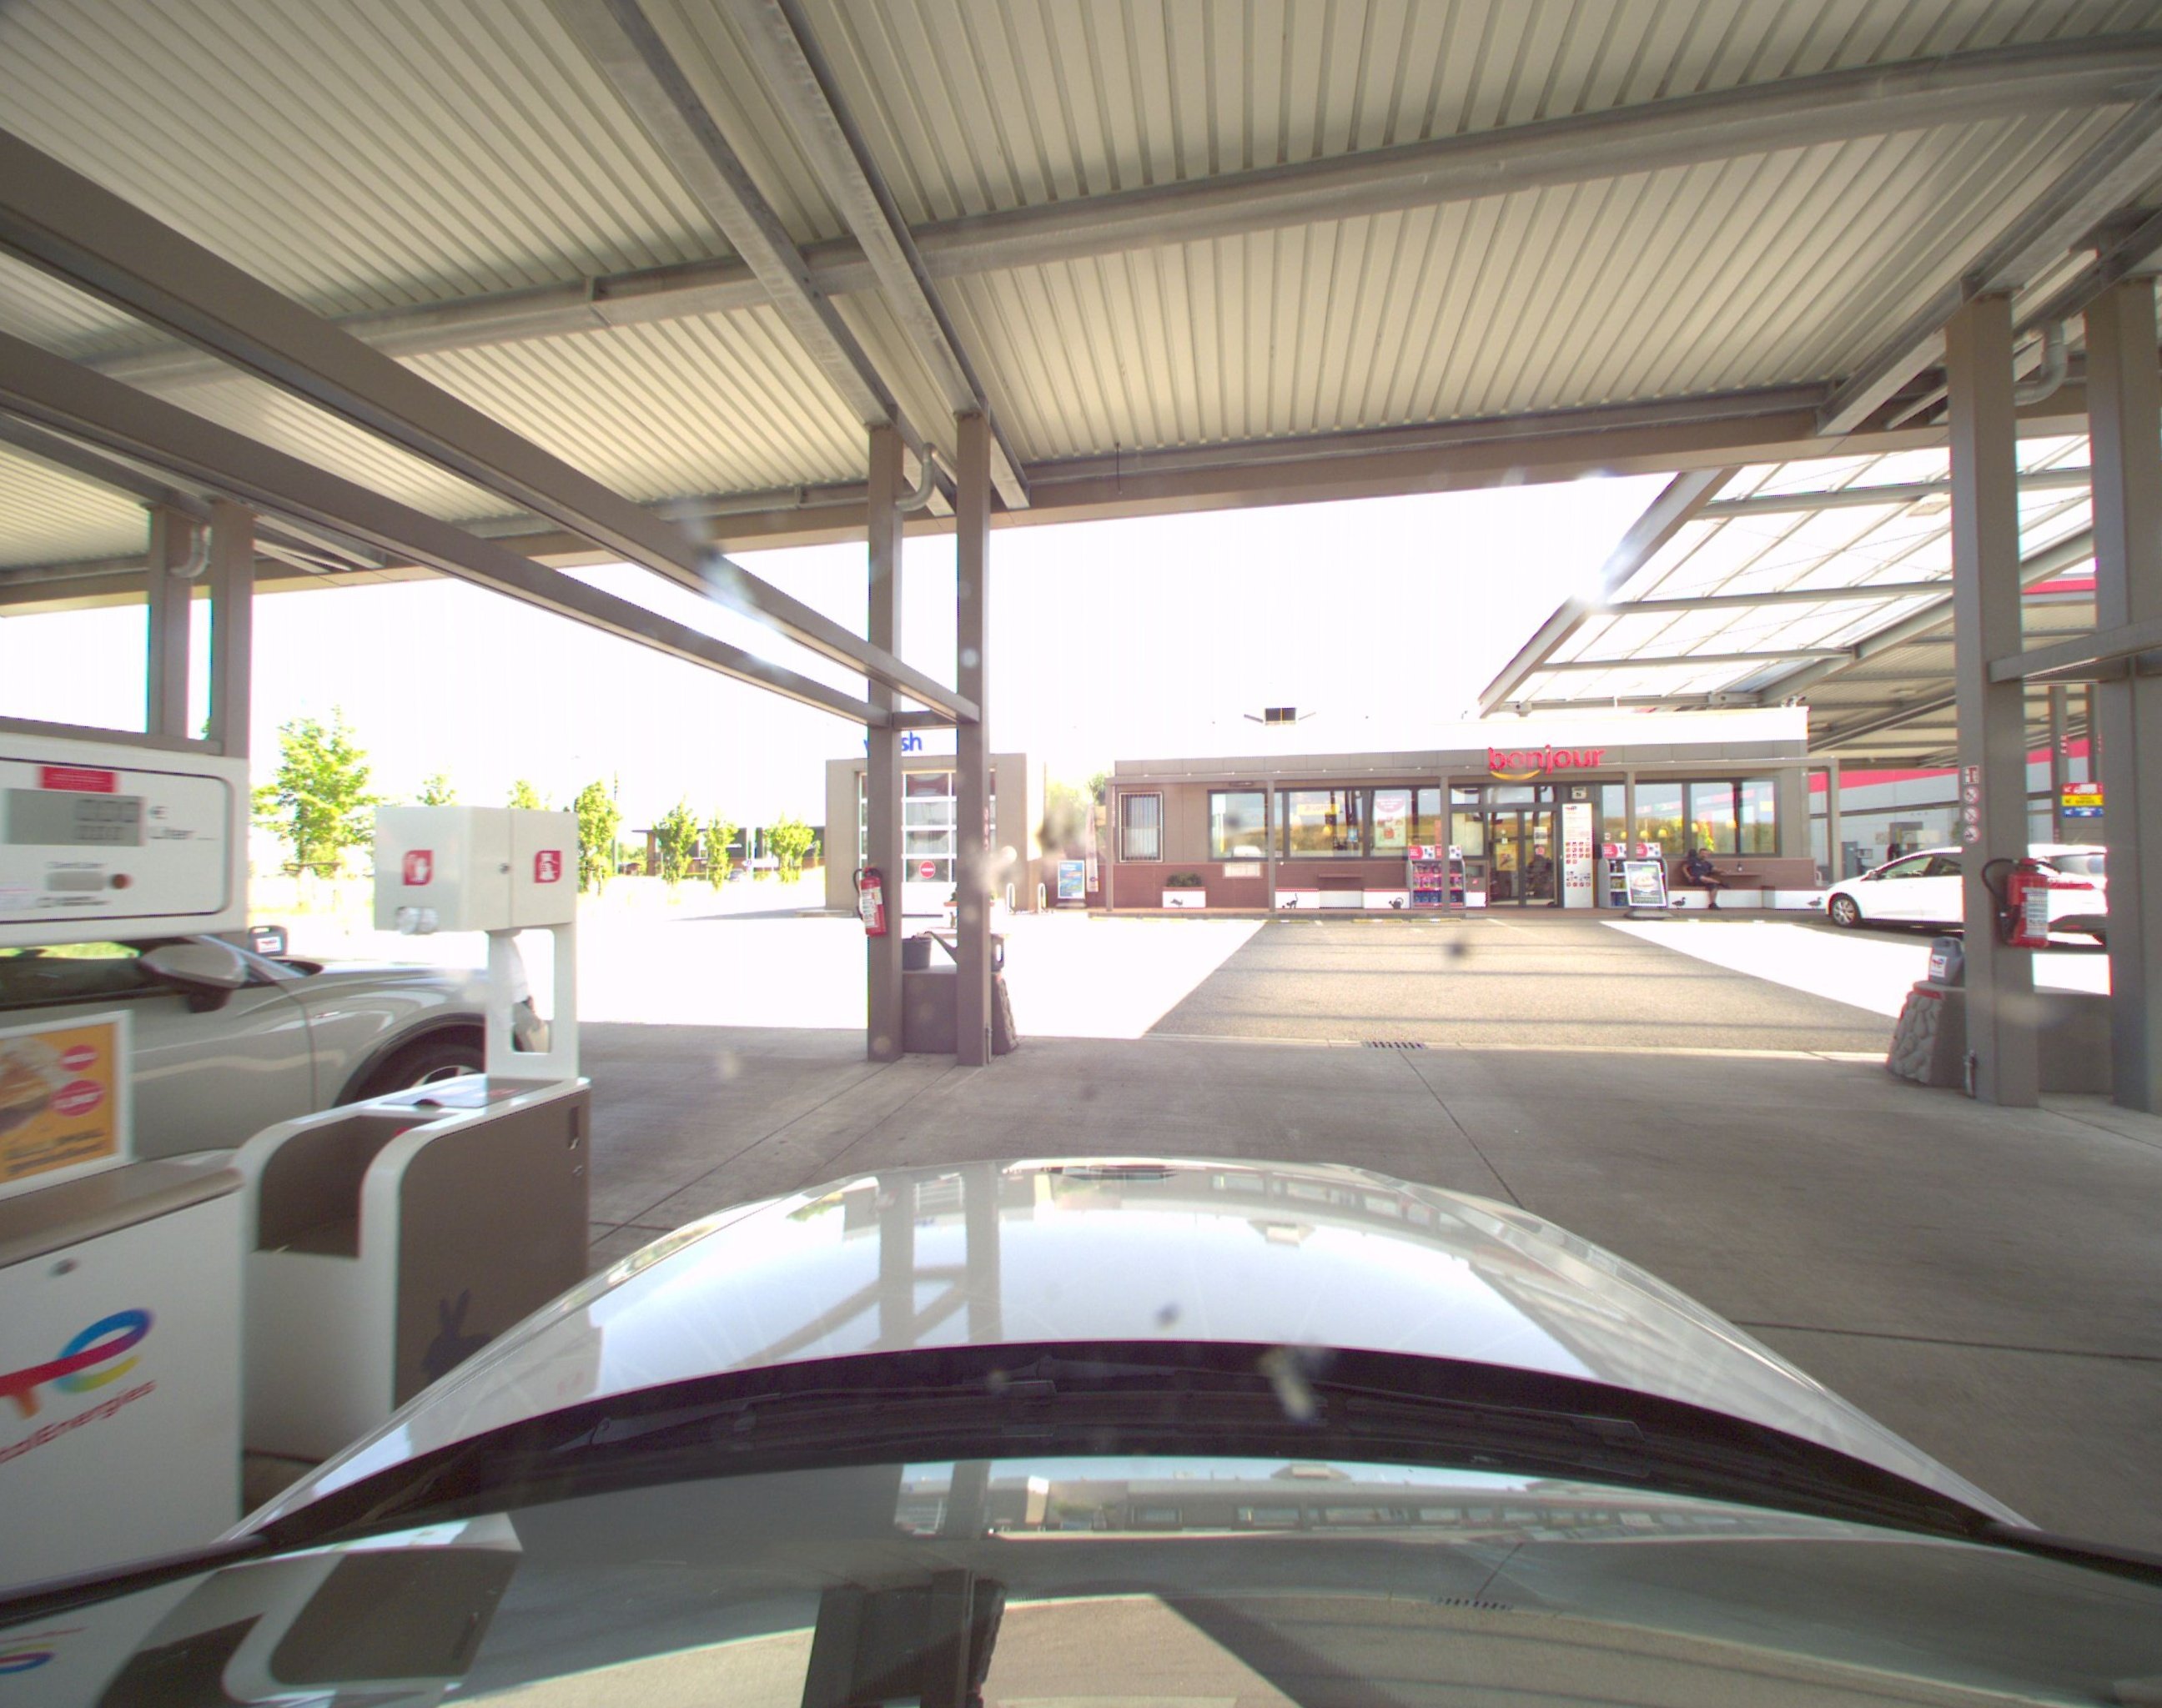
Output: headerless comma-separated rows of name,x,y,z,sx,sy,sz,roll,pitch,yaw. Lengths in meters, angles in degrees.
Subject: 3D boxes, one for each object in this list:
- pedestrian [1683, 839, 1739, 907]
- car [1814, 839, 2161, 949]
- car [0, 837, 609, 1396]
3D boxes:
pedestrian,13.553,0.398,17.530,0.697,1.432,0.675,-1,-1,10
car,14.452,0.536,13.050,1.821,1.457,4.328,-1,0,6
car,-3.857,0.736,2.422,1.768,1.541,4.340,-1,0,12
